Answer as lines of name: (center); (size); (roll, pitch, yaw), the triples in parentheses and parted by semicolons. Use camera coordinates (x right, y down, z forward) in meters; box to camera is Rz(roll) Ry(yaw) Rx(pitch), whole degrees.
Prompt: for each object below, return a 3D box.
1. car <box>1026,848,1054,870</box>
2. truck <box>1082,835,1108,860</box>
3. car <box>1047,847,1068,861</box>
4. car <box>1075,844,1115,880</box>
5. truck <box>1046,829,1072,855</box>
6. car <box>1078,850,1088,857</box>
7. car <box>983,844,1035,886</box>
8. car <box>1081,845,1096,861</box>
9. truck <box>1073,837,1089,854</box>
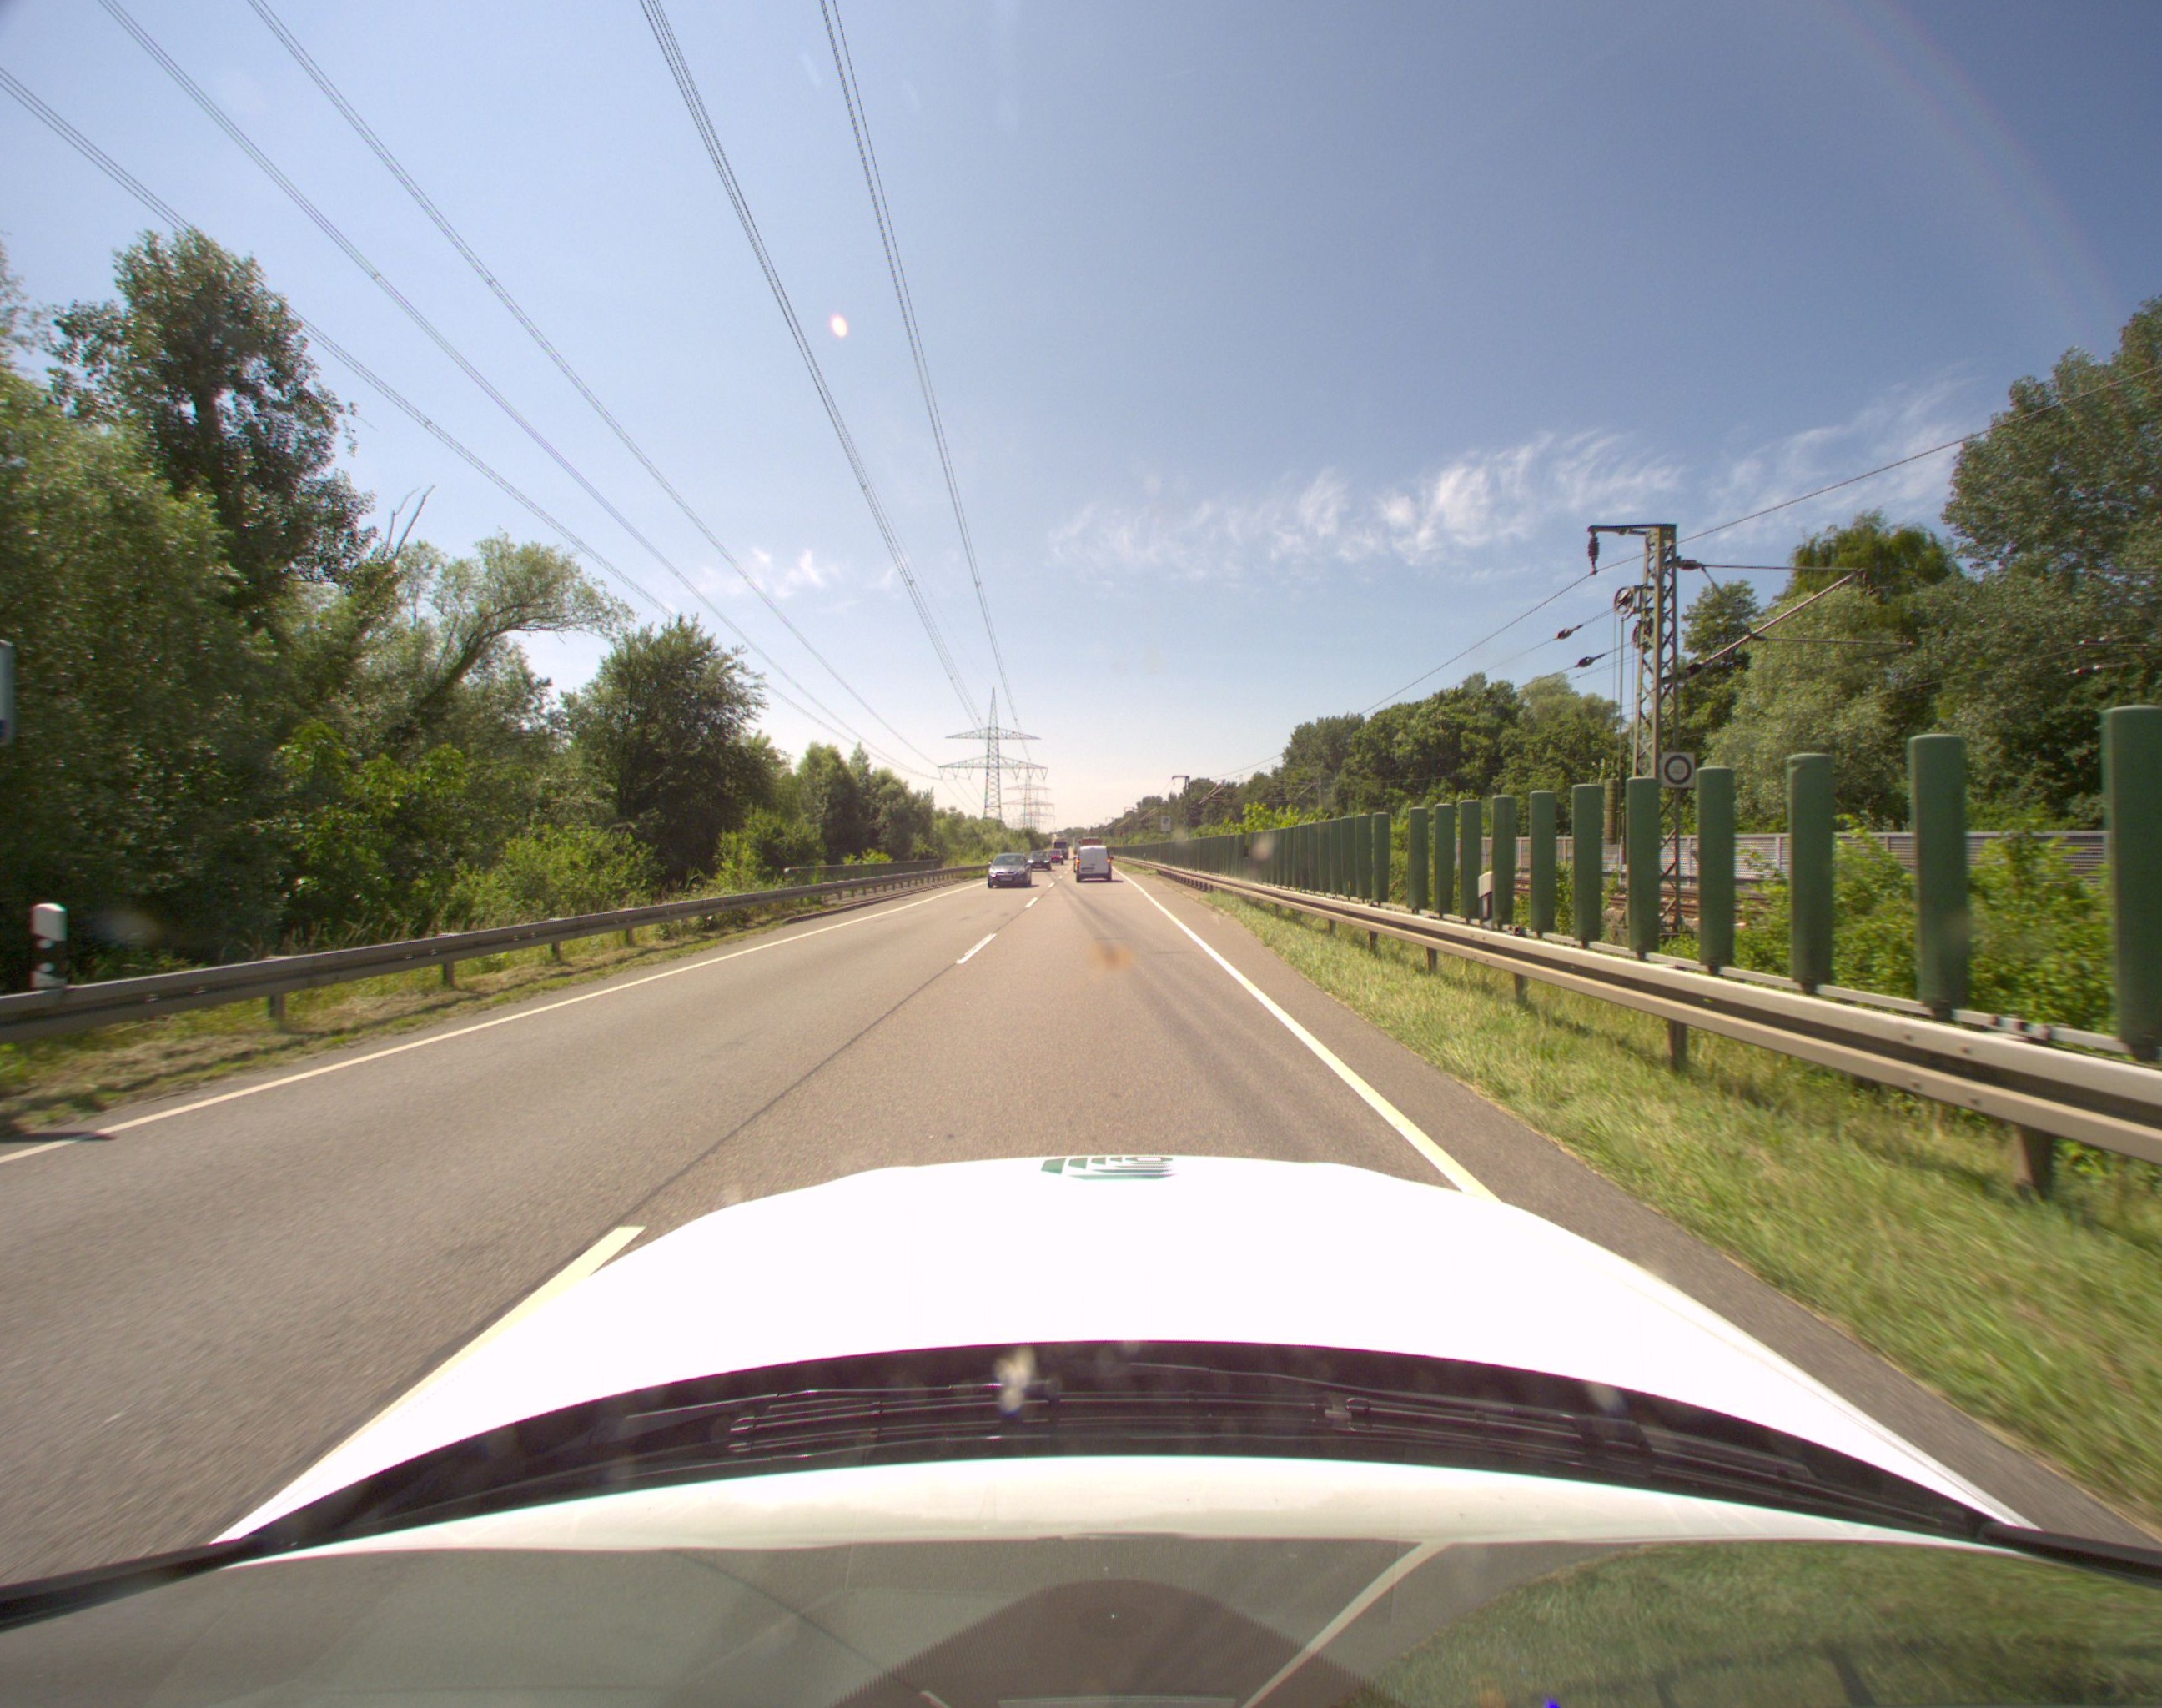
car: (-3.381, 0.412, 67.689); (1.986, 1.741, 4.001); (-1, 0, 1)
truck: (1.950, -1.044, 114.290); (3.285, 3.171, 14.408); (2, 1, 1)
car: (-2.525, -0.009, 88.520); (1.986, 1.526, 4.001); (-1, 0, 1)
car: (0.667, 0.378, 41.154); (1.869, 1.741, 3.999); (-1, 0, 0)
truck: (-3.493, -2.013, 134.863); (3.390, 3.854, 16.821); (2, 1, 1)
car: (0.418, -0.086, 166.009); (1.987, 1.526, 4.000); (-1, 0, 0)
car: (-3.180, 0.449, 36.603); (1.987, 1.741, 3.999); (-1, 0, 0)
car: (0.948, -0.119, 102.608); (1.757, 2.013, 4.000); (-1, 0, 1)
truck: (-0.108, -2.141, 198.641); (3.393, 3.854, 16.811); (2, 1, -1)
